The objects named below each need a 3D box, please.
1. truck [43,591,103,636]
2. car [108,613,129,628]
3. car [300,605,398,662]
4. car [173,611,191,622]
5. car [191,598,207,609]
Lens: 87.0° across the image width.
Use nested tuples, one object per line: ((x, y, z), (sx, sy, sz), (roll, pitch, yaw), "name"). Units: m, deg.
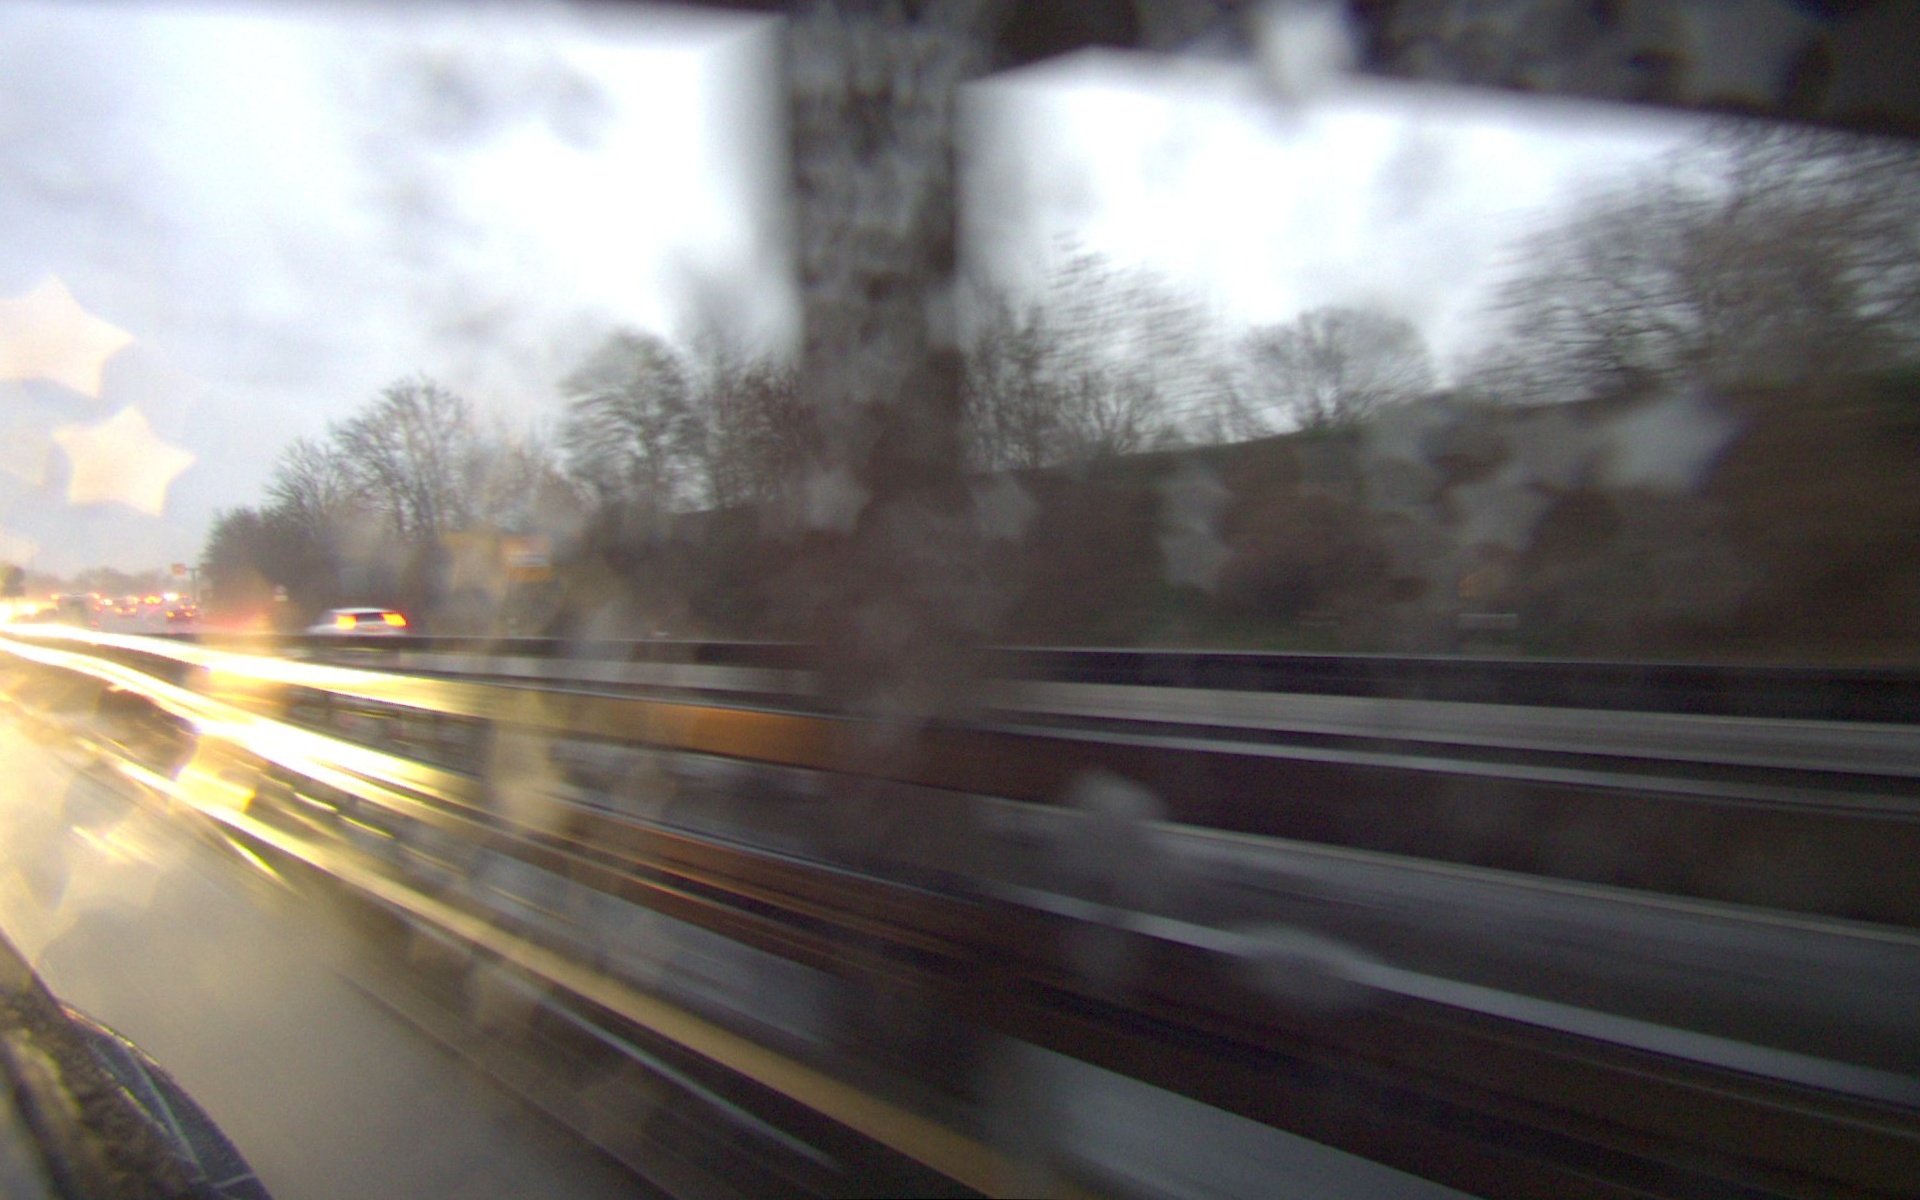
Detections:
((-66.162, 0.940, 75.440), (7.731, 3.184, 2.684), (0, 2, 44), "truck")
((-104.772, 2.524, 125.995), (1.672, 1.678, 4.438), (-2, 2, -42), "car")
((-19.839, 1.055, 32.806), (4.295, 1.682, 1.565), (-1, 0, 42), "car")
((-116.247, 2.443, 151.225), (1.840, 1.550, 4.119), (-2, 2, -41), "car")
((-132.163, 0.619, 175.802), (1.857, 1.846, 4.794), (-2, 2, -41), "car")
